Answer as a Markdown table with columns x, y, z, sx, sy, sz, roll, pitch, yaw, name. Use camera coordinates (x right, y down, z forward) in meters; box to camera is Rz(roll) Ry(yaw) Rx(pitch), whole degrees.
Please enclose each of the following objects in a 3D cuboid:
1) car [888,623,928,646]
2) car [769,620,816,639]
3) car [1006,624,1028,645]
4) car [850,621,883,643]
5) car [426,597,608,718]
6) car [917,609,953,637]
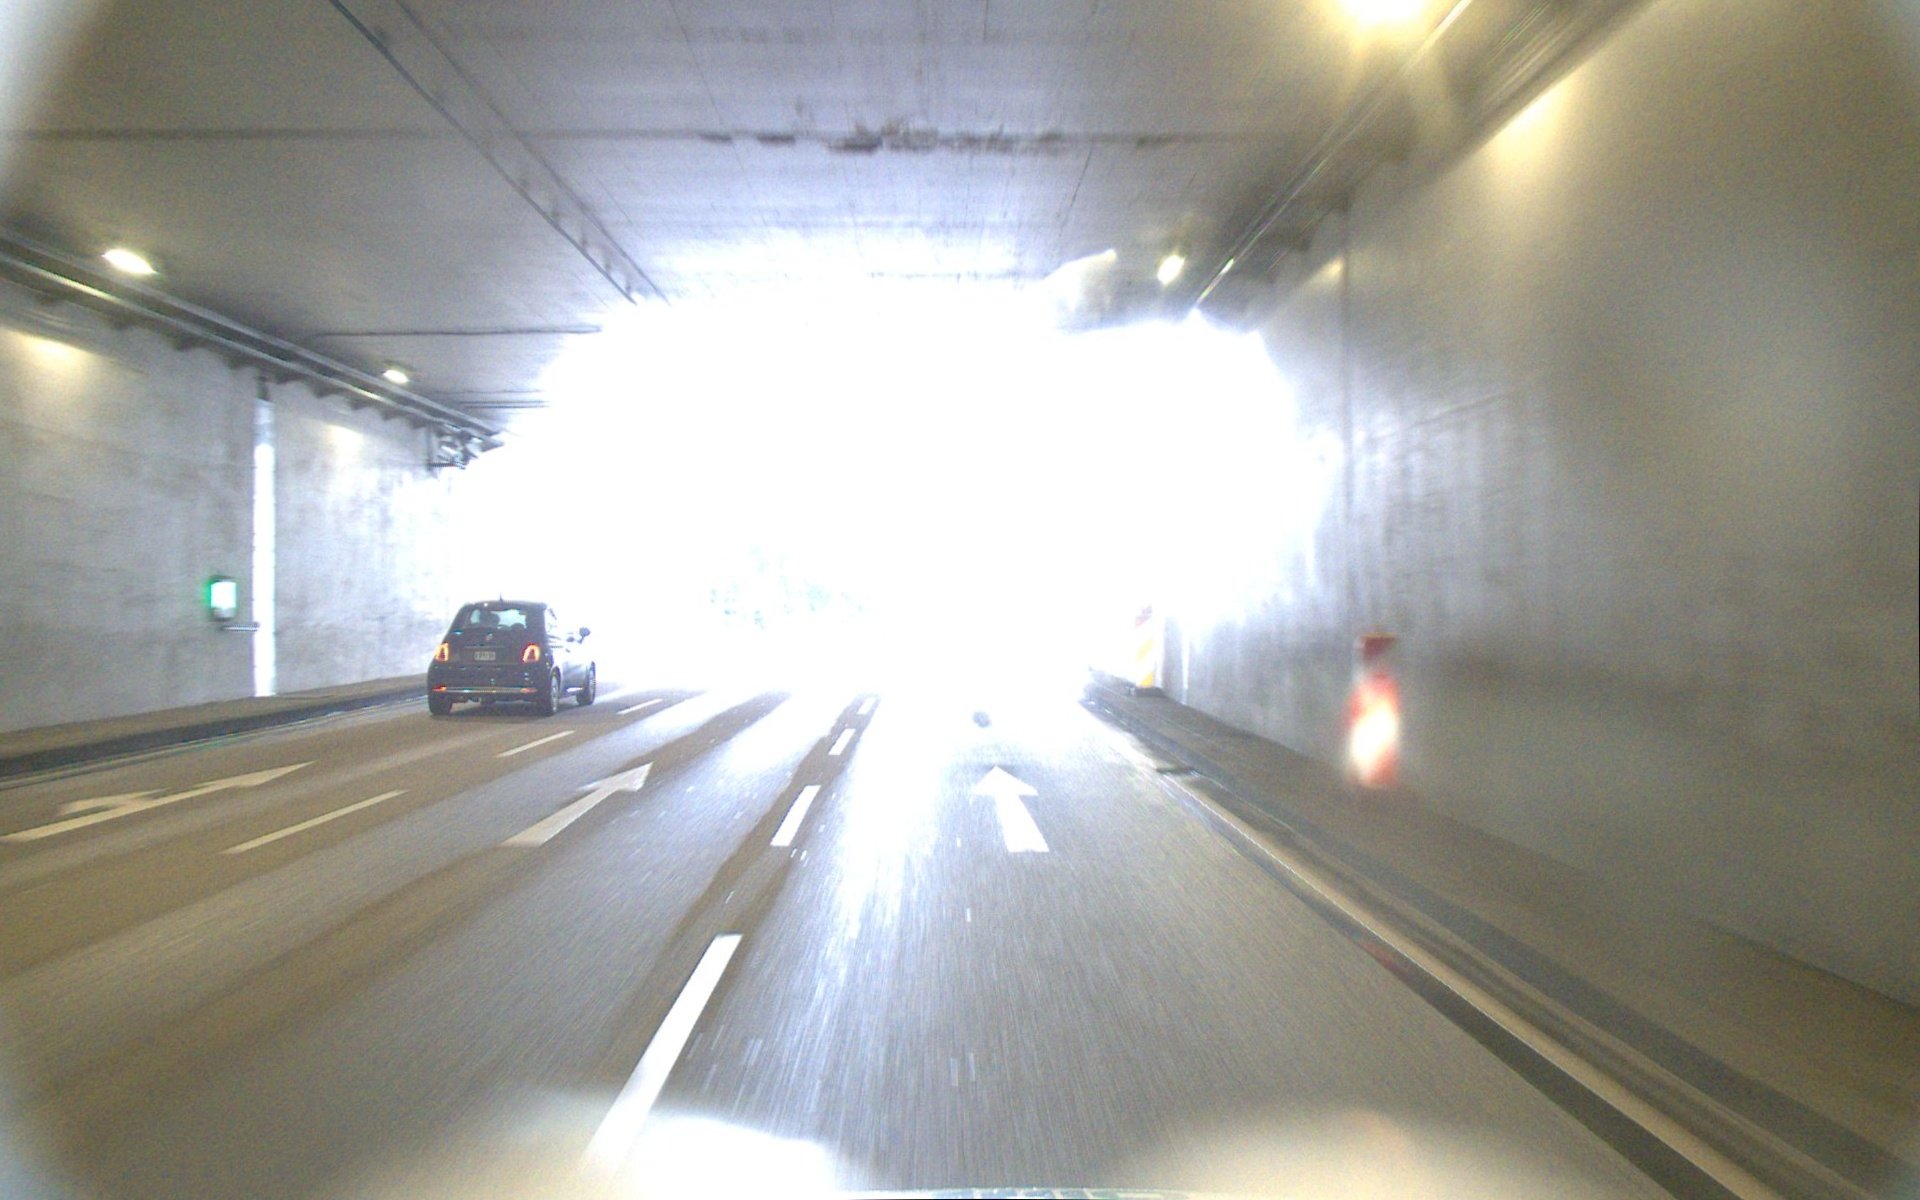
| x | y | z | sx | sy | sz | roll | pitch | yaw | name |
| --- | --- | --- | --- | --- | --- | --- | --- | --- | --- |
| -4.048 | 2.655 | 128.480 | 1.866 | 1.713 | 3.972 | 0 | 0 | -23 | car |
| -14.620 | 2.596 | 144.542 | 3.926 | 1.540 | 1.888 | -1 | 0 | 40 | car |
| 5.531 | 3.348 | 162.107 | 1.953 | 2.049 | 3.999 | 0 | -1 | -1 | car |
| -7.700 | 2.648 | 136.614 | 1.861 | 1.713 | 3.982 | -1 | 0 | -16 | car |
| -5.924 | 0.726 | 22.475 | 1.580 | 1.480 | 3.571 | 2 | 0 | -2 | car |
| -1.404 | 1.286 | 91.995 | 1.953 | 1.473 | 4.312 | -1 | -1 | -2 | car |
